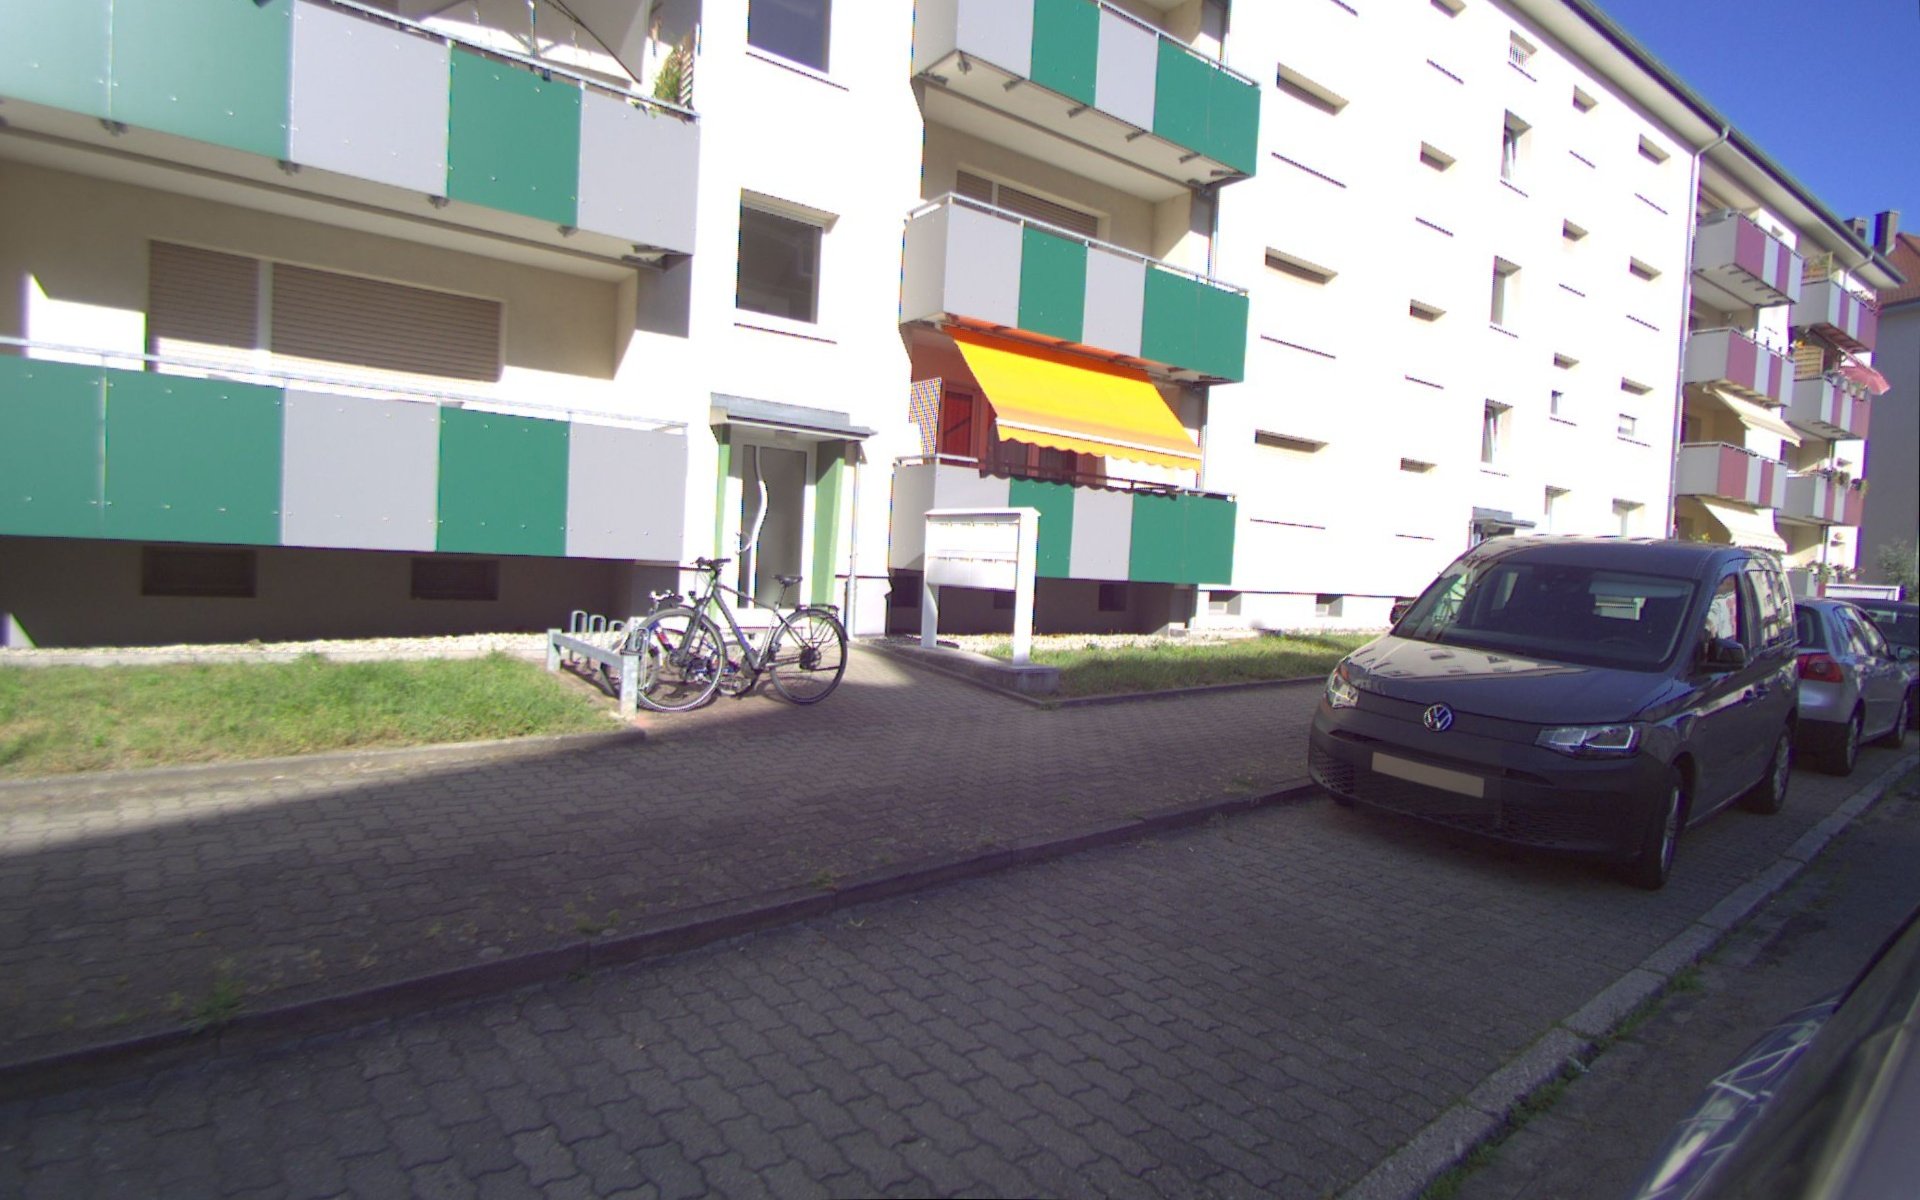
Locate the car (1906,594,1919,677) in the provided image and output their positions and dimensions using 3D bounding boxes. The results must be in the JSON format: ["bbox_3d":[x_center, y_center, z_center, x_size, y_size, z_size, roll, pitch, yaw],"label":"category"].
[{"bbox_3d":[18.732,0.705,18.141,3.785,1.436,1.681,1,5,-34],"label":"car"}]

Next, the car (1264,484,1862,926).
[{"bbox_3d":[4.136,0.373,6.507,4.834,1.861,1.763,0,5,-41],"label":"car"}]

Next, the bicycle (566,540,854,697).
[{"bbox_3d":[-1.823,0.117,7.571,2.034,1.057,0.507,0,2,-33],"label":"bicycle"}]

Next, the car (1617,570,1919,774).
[{"bbox_3d":[8.011,0.551,9.707,3.789,1.476,1.645,0,5,-38],"label":"car"}]

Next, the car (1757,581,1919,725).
[{"bbox_3d":[11.726,0.590,12.784,3.789,1.466,1.669,0,5,-38],"label":"car"}]

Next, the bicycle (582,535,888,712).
[{"bbox_3d":[-1.531,0.138,7.108,2.034,1.106,0.507,0,2,-33],"label":"bicycle"}]
